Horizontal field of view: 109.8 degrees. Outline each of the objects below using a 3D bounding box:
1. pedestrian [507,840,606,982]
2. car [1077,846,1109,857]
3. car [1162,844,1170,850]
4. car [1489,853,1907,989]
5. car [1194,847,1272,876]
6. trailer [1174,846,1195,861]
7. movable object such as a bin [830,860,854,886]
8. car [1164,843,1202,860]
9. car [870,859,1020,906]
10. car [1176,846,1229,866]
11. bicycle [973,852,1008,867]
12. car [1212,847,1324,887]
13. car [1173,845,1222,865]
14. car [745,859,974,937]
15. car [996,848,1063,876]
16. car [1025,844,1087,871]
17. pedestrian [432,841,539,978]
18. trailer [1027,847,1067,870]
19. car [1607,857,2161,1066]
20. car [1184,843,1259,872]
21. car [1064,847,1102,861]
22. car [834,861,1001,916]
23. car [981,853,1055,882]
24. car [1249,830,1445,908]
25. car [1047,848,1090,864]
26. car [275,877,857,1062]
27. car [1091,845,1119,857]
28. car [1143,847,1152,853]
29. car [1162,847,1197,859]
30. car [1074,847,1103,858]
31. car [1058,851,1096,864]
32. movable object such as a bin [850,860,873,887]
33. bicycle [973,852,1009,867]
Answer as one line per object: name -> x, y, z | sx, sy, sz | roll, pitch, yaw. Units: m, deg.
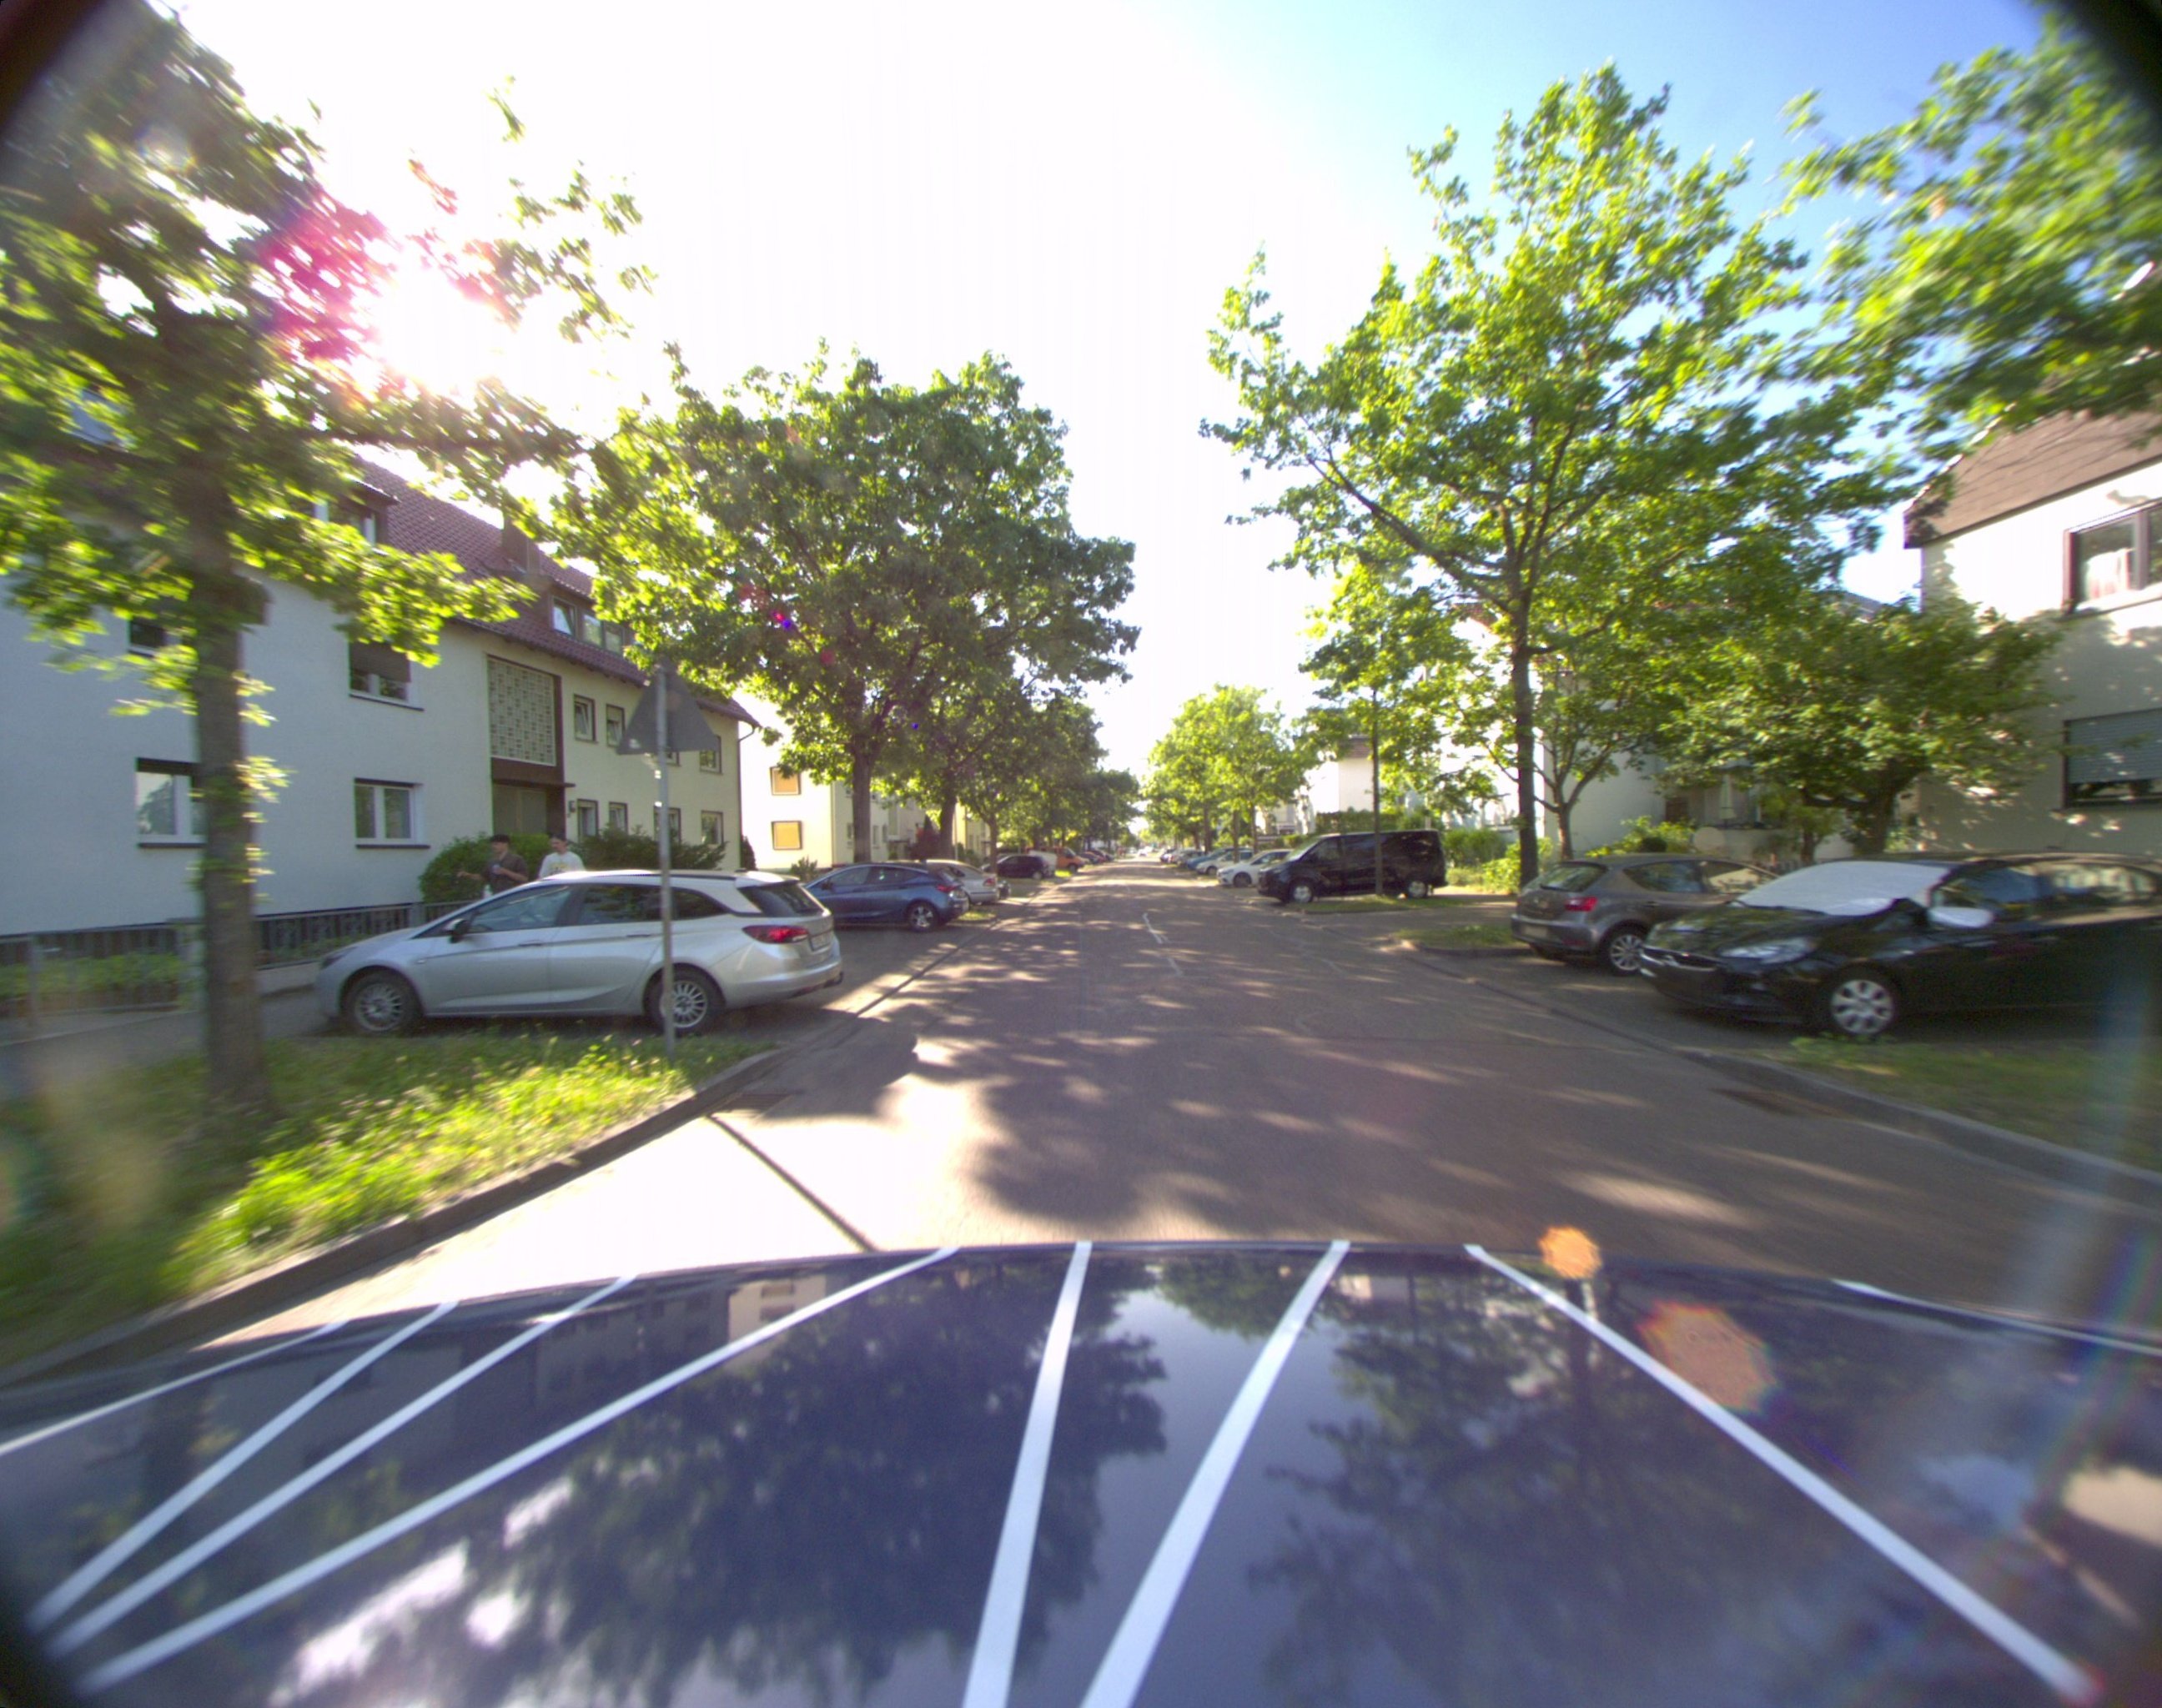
pedestrian -> -7.241, 0.753, 10.533 | 0.609, 1.863, 0.924 | -1, 2, 5
car -> 1.710, -0.354, 109.490 | 4.511, 1.437, 1.839 | 0, 1, 6
car -> 23.505, -2.019, 209.696 | 1.740, 1.532, 3.949 | -1, 1, 10
car -> 7.603, 0.782, 9.664 | 3.828, 1.411, 1.772 | -2, 1, 1
car -> 8.714, 0.412, 43.882 | 4.192, 1.483, 1.647 | -2, 1, 3
trailer -> 11.742, -0.056, 86.176 | 2.240, 1.664, 1.475 | -1, 1, 9
movable object such as a bin -> -10.571, 0.824, 33.581 | 0.704, 1.092, 0.906 | -1, 2, 2
car -> 12.212, -0.325, 91.159 | 4.246, 1.933, 2.000 | -1, 1, 2
car -> -4.264, 0.878, 24.288 | 4.356, 1.355, 1.873 | 0, 2, 3
car -> 10.032, 0.151, 62.987 | 4.043, 1.415, 1.810 | -3, 1, 3
bicycle -> -7.461, 0.449, 62.589 | 2.864, 1.230, 0.468 | 0, 1, 5
car -> 7.776, 0.532, 31.955 | 4.285, 1.469, 1.769 | -3, 1, 3
car -> 10.468, 0.058, 68.252 | 4.196, 1.558, 1.792 | -3, 1, 6
car -> -4.591, 0.906, 16.169 | 4.286, 1.494, 1.797 | -1, 1, 3
car -> -3.195, 0.474, 47.728 | 3.997, 1.614, 1.757 | -1, 2, 0
car -> -2.015, 0.252, 62.016 | 4.829, 2.071, 2.086 | -1, 1, 4
pedestrian -> -8.182, 0.735, 10.473 | 0.837, 1.818, 0.710 | -1, 2, 3
trailer -> -2.574, 0.354, 57.307 | 2.953, 1.655, 1.614 | 1, 2, -2
car -> 7.142, 0.834, 6.610 | 3.866, 1.450, 1.713 | -2, 1, 3
car -> 8.955, 0.234, 48.652 | 4.533, 1.622, 1.938 | -2, 1, 5
car -> 0.283, -0.039, 93.304 | 4.583, 1.637, 1.838 | 1, 1, 5
car -> -4.475, 0.933, 21.289 | 4.288, 1.406, 1.796 | -1, 1, -2
car -> -3.478, 0.730, 42.451 | 3.891, 1.507, 1.661 | -1, 2, 4
car -> 7.404, 0.403, 21.516 | 4.790, 1.906, 2.018 | -2, 1, 1
car -> -1.253, 0.204, 78.111 | 4.347, 1.551, 1.868 | 0, 1, 3
car -> -4.696, 1.020, 7.456 | 4.440, 1.483, 1.796 | -1, 1, 0
car -> 3.678, -0.506, 117.867 | 4.220, 1.771, 1.790 | 1, 1, 6
car -> 16.489, -0.956, 187.399 | 1.943, 1.412, 4.002 | -1, 1, 8
car -> 13.062, -0.116, 100.929 | 4.487, 1.491, 1.837 | -1, 1, 3
car -> 1.057, -0.177, 105.395 | 3.785, 1.476, 1.756 | 0, 2, 6
car -> -0.426, 0.378, 89.343 | 4.329, 1.521, 1.841 | 0, 1, 4
movable object such as a bin -> -9.723, 0.860, 33.632 | 0.704, 1.105, 0.906 | -1, 2, 2
bicycle -> -7.469, 0.457, 63.089 | 2.864, 1.230, 0.468 | 1, 2, 5
